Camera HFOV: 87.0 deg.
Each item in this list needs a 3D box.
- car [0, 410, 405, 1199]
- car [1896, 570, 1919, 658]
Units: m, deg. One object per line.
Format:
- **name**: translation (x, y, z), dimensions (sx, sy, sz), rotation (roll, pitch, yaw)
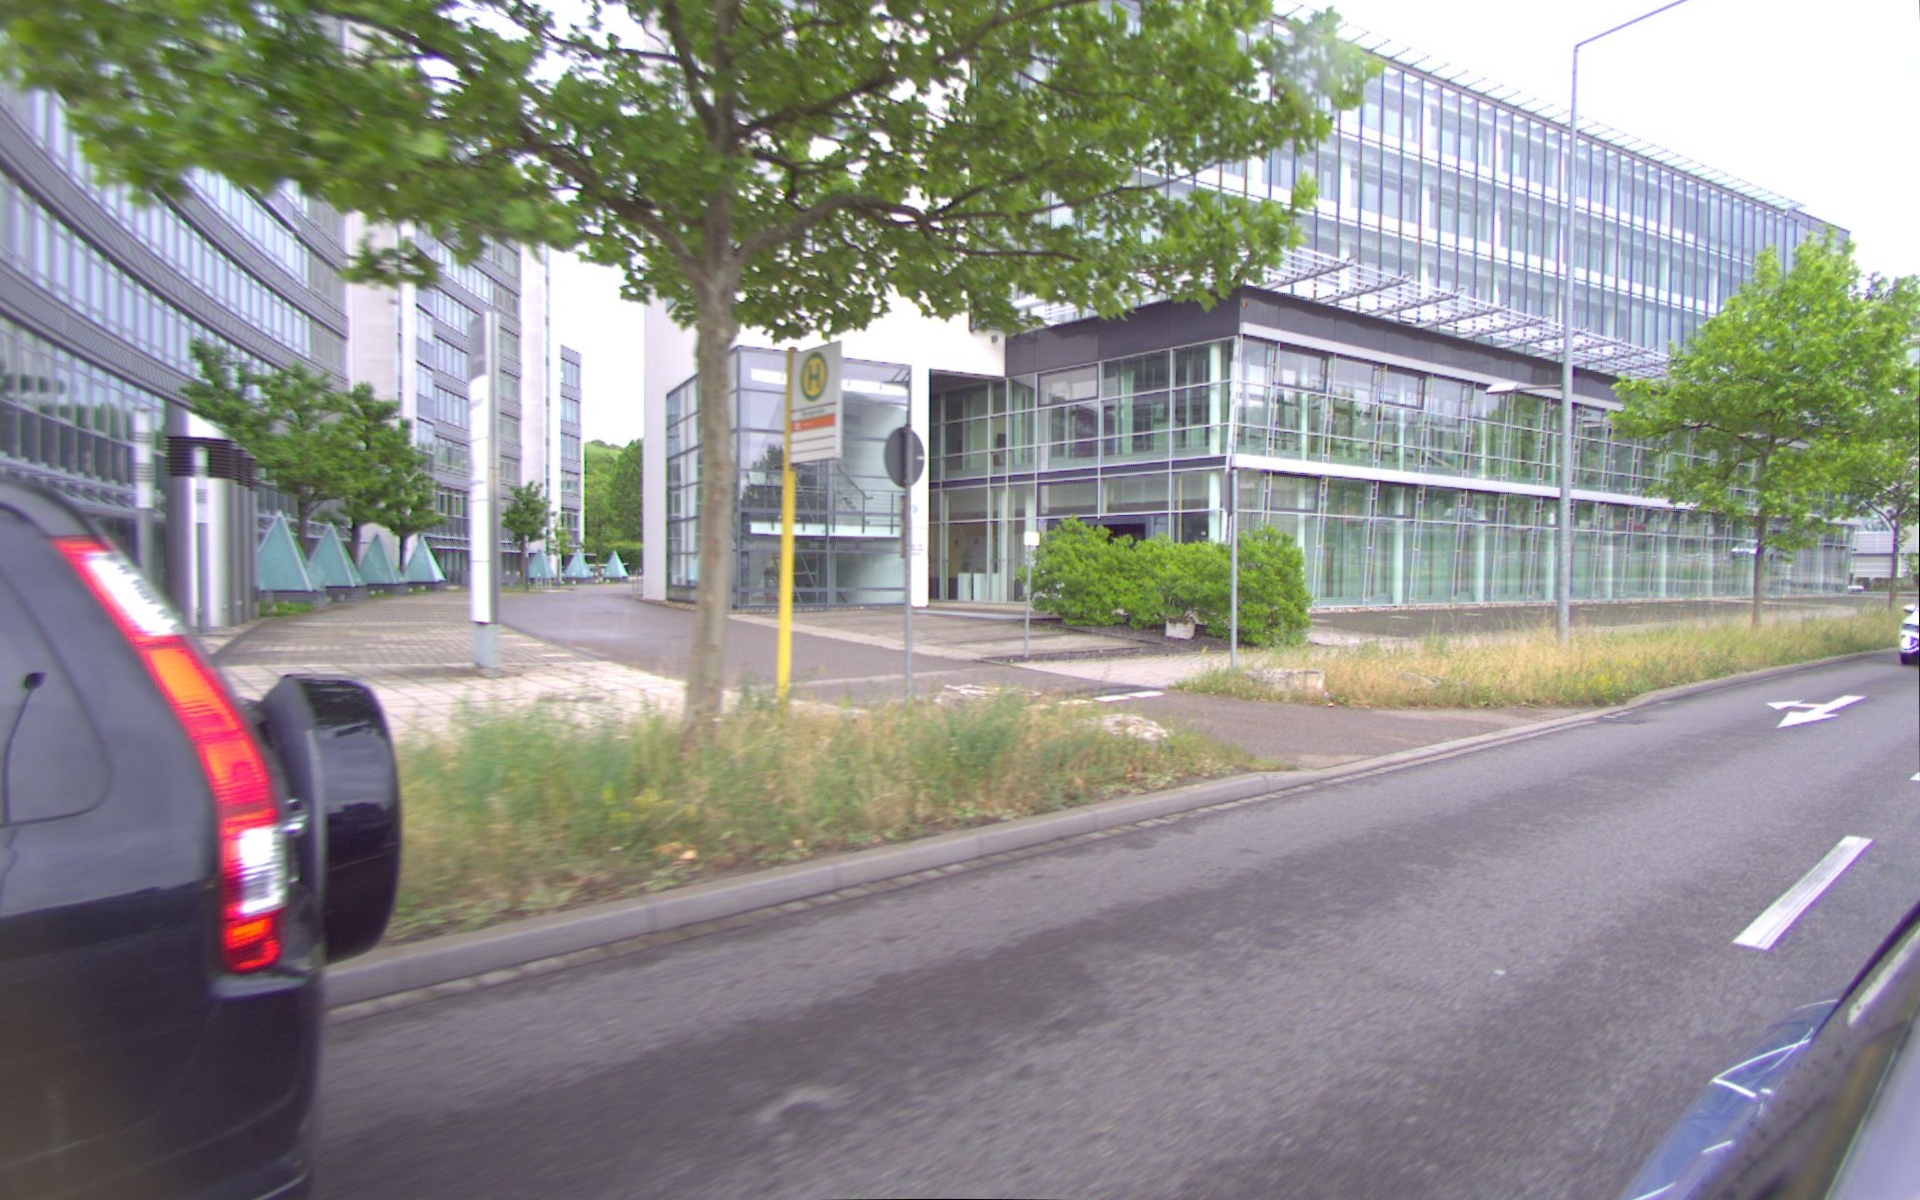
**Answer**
- **car**: translation (-3.061, 0.633, 0.882), dimensions (4.250, 1.650, 1.768), rotation (-2, 0, -41)
- **car**: translation (20.533, 0.234, 20.350), dimensions (3.754, 1.699, 1.998), rotation (-2, 1, -39)
